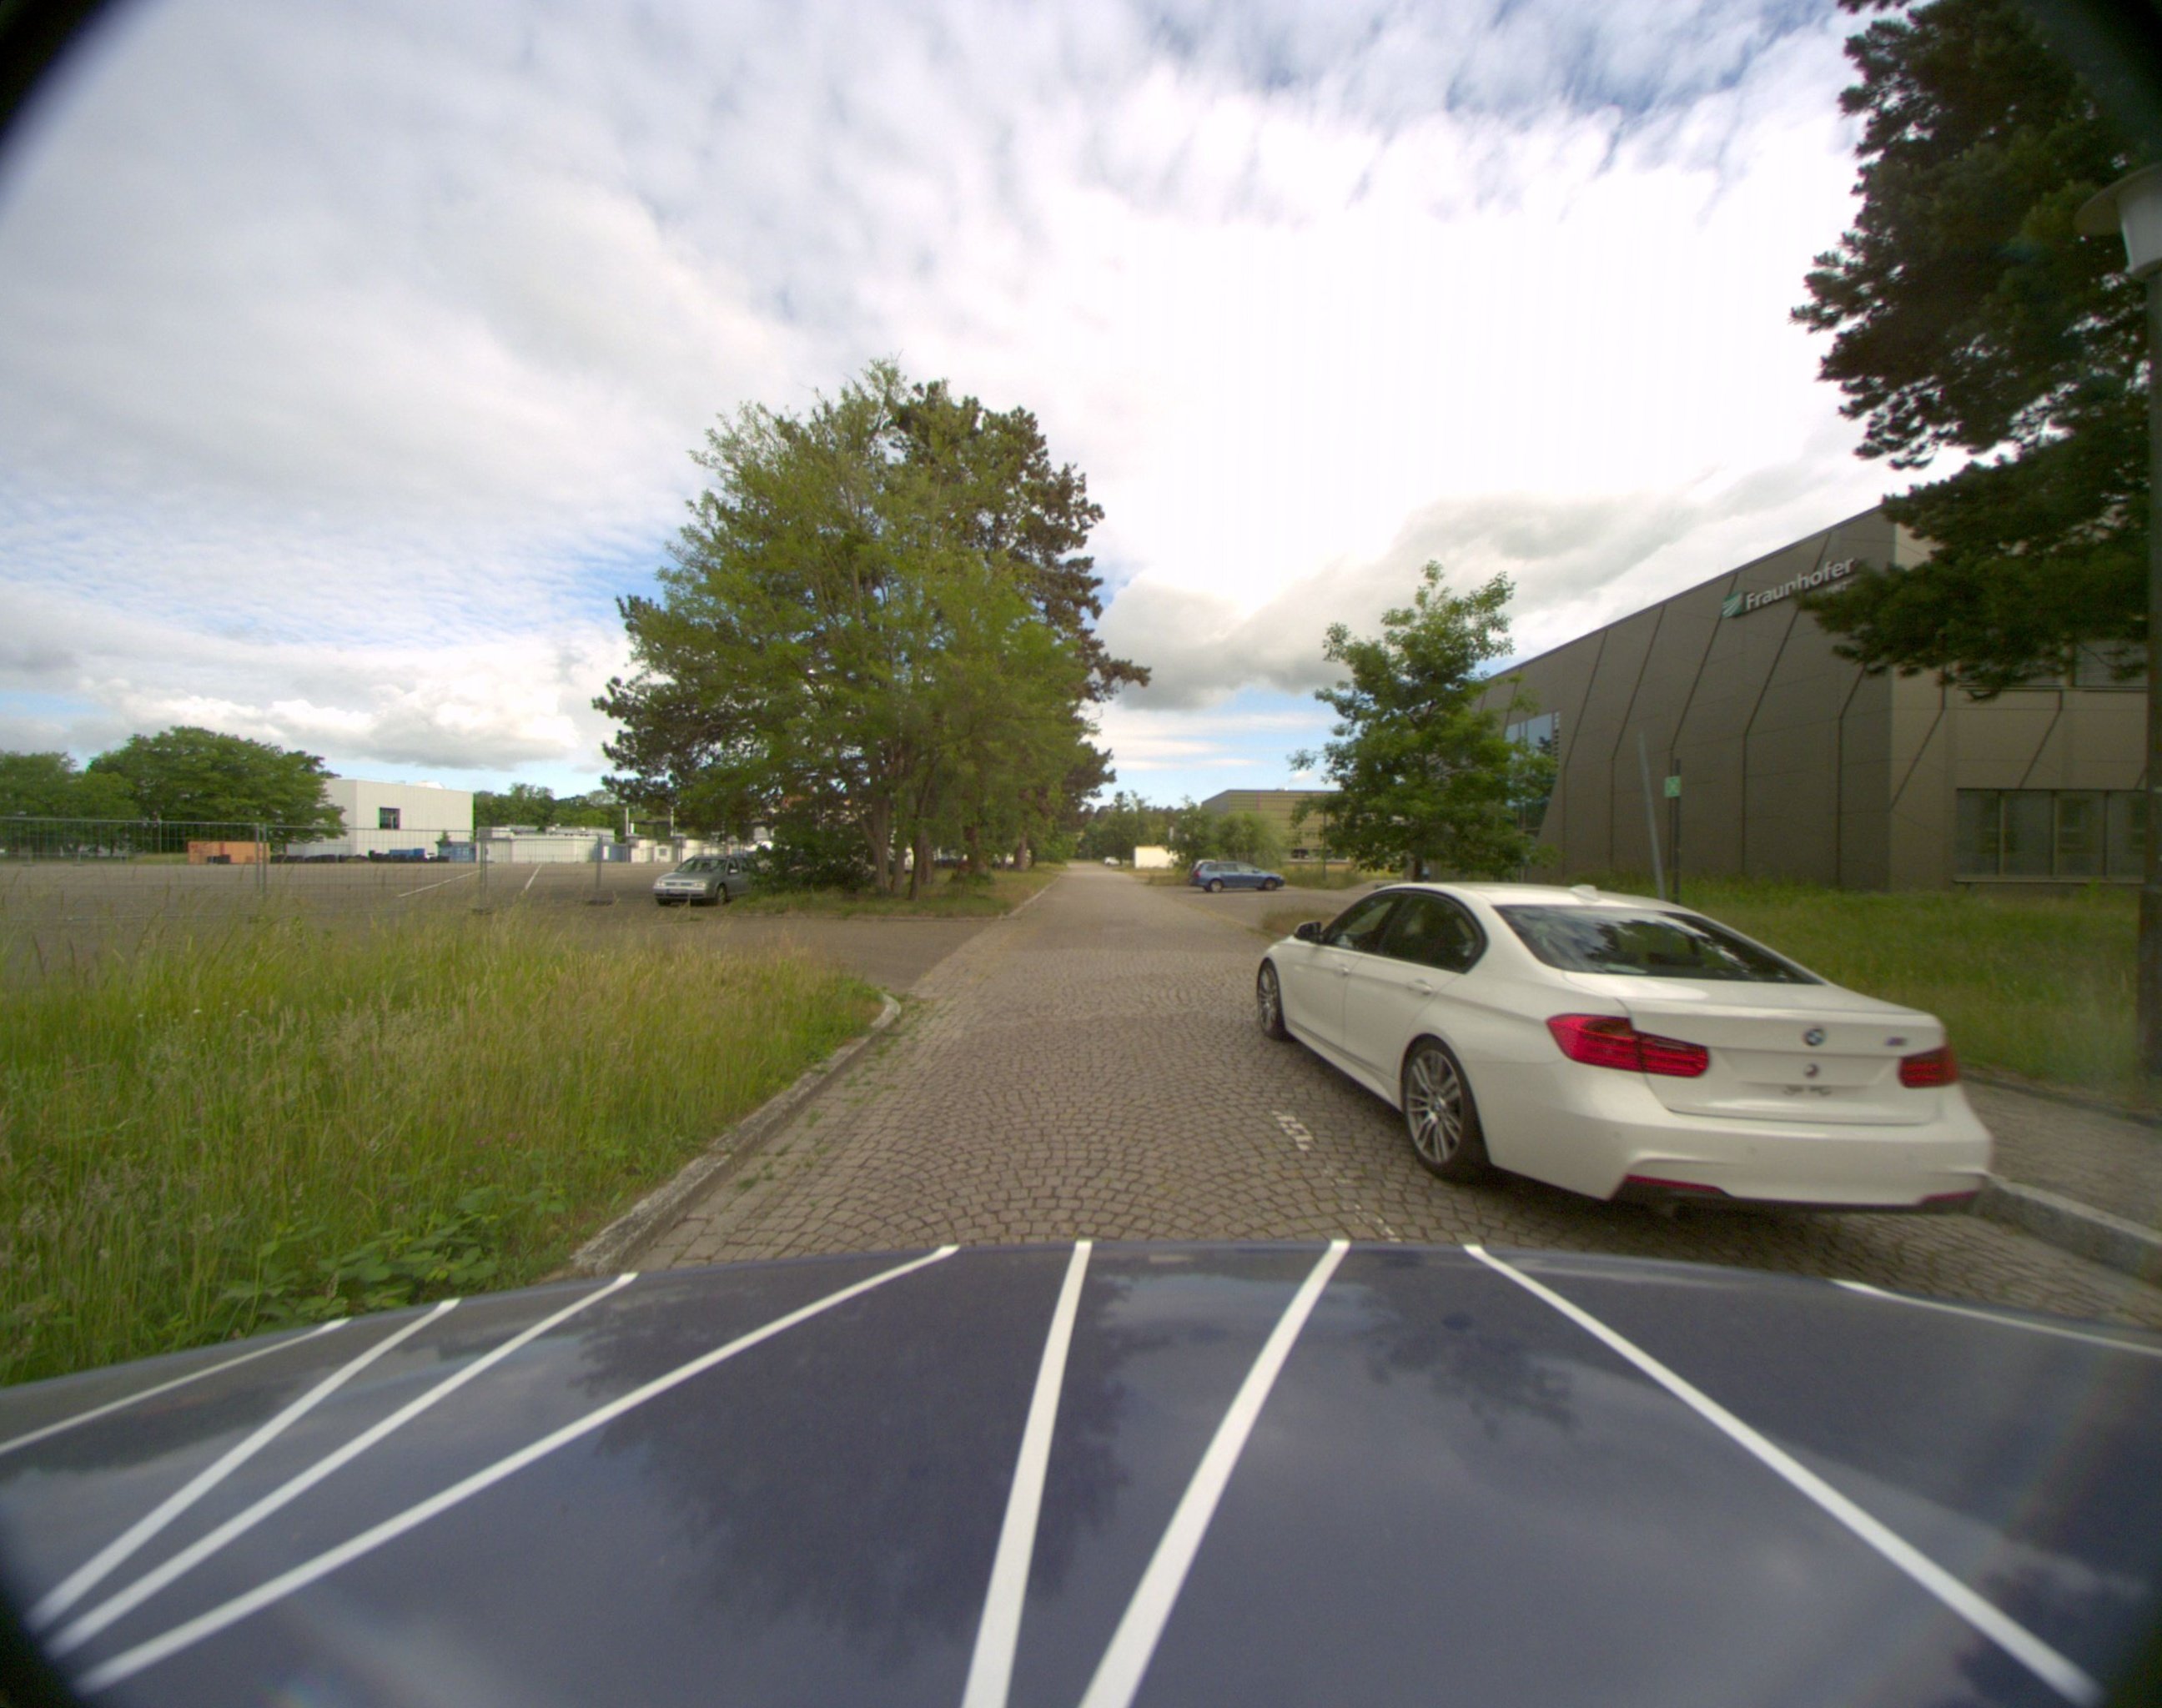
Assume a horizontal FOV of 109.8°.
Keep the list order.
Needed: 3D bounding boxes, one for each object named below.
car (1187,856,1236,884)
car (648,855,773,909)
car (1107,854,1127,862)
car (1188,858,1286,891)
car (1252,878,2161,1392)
[{"bbox_3d":[7.627,0.914,44.581,2.584,1.521,1.500,-2,1,-2],"label":"car"},{"bbox_3d":[-10.935,0.756,22.810,1.678,1.442,4.488,0,0,-2],"label":"car"},{"bbox_3d":[7.367,0.841,157.018,4.062,1.767,1.792,0,1,0],"label":"car"},{"bbox_3d":[7.585,0.991,37.212,4.427,1.461,1.633,-2,1,-2],"label":"car"},{"bbox_3d":[2.501,0.979,4.523,1.778,1.430,4.217,3,0,-3],"label":"car"}]
